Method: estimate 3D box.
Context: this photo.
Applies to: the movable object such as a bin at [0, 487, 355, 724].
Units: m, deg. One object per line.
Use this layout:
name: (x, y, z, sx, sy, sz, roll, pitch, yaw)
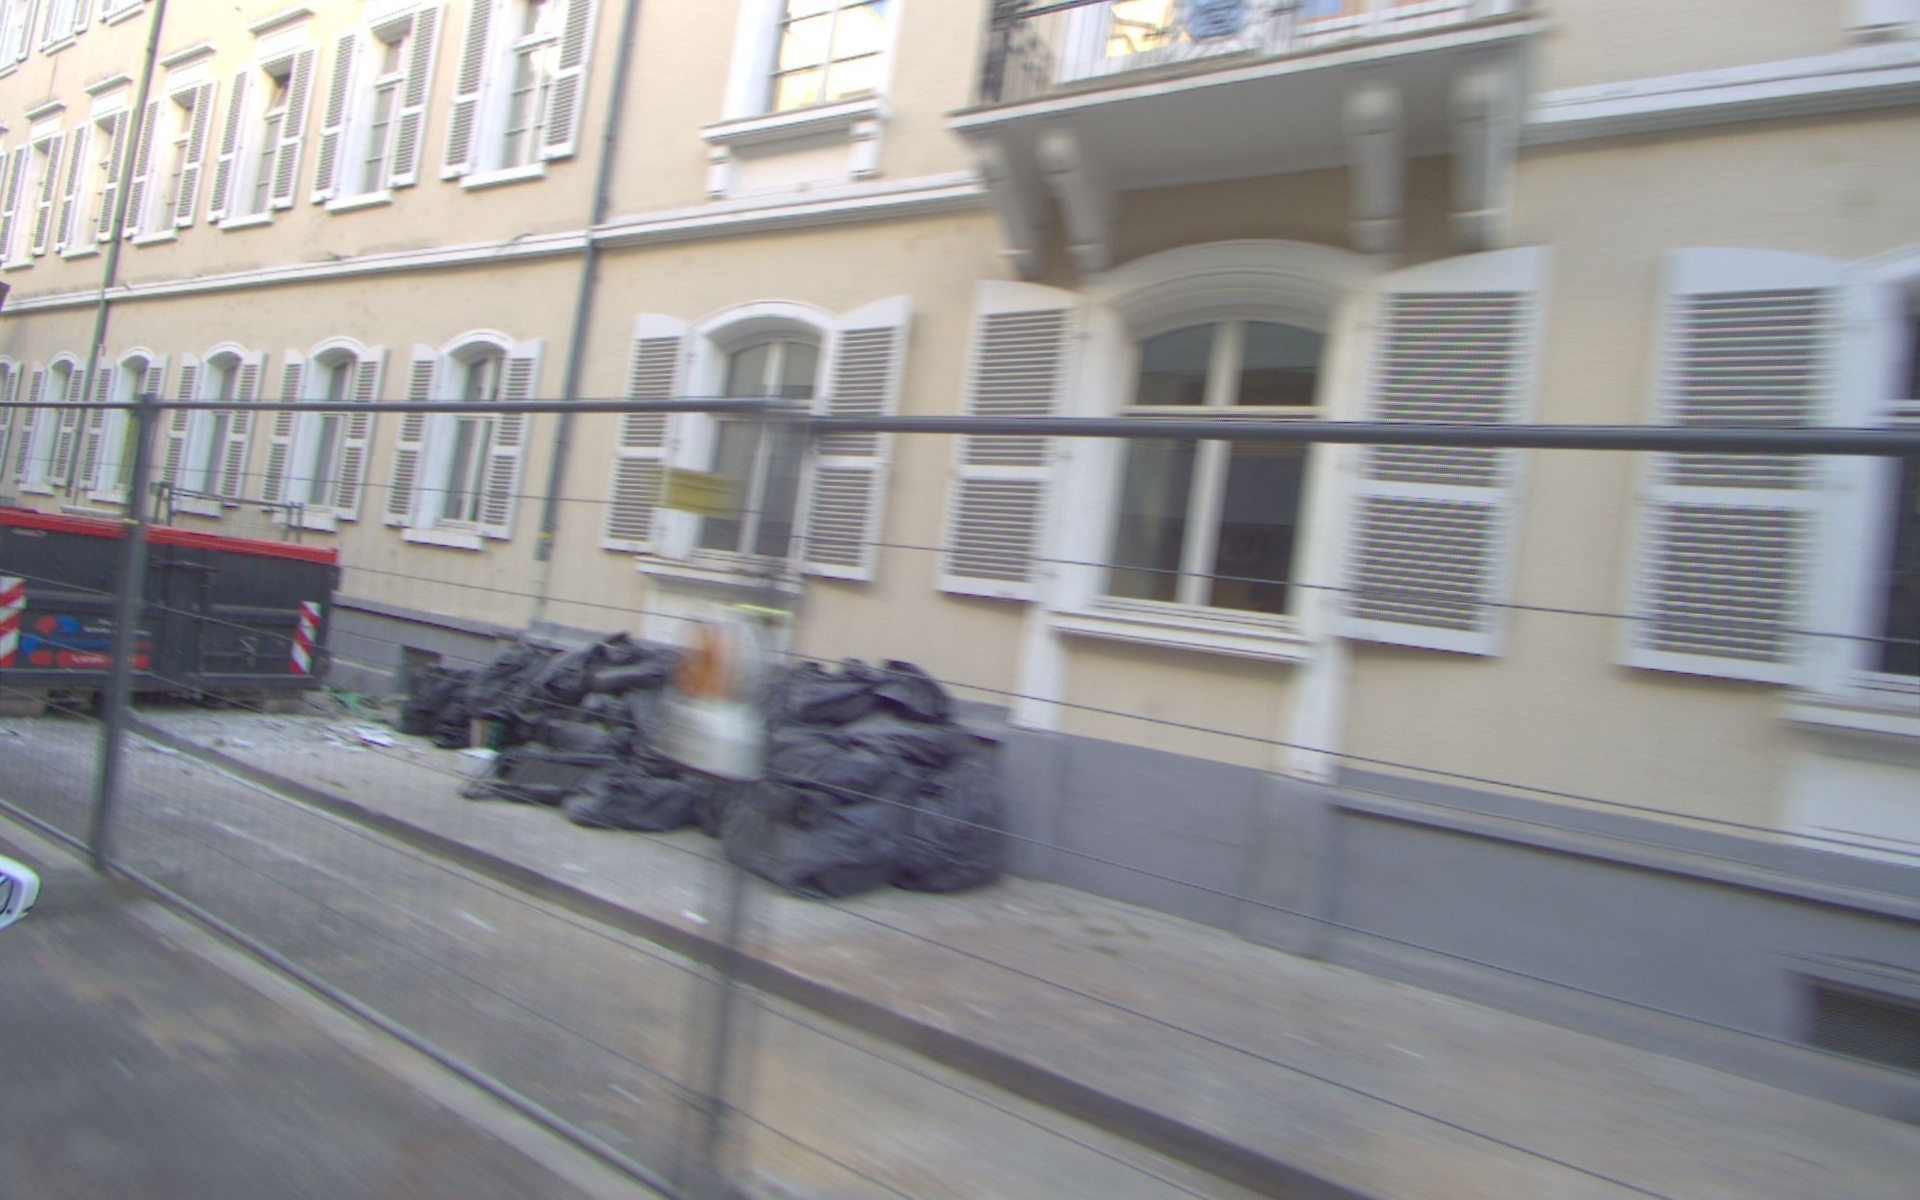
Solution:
movable object such as a bin: (-9.548, -0.267, 9.866, 7.168, 1.683, 2.900, 8, -3, 29)
